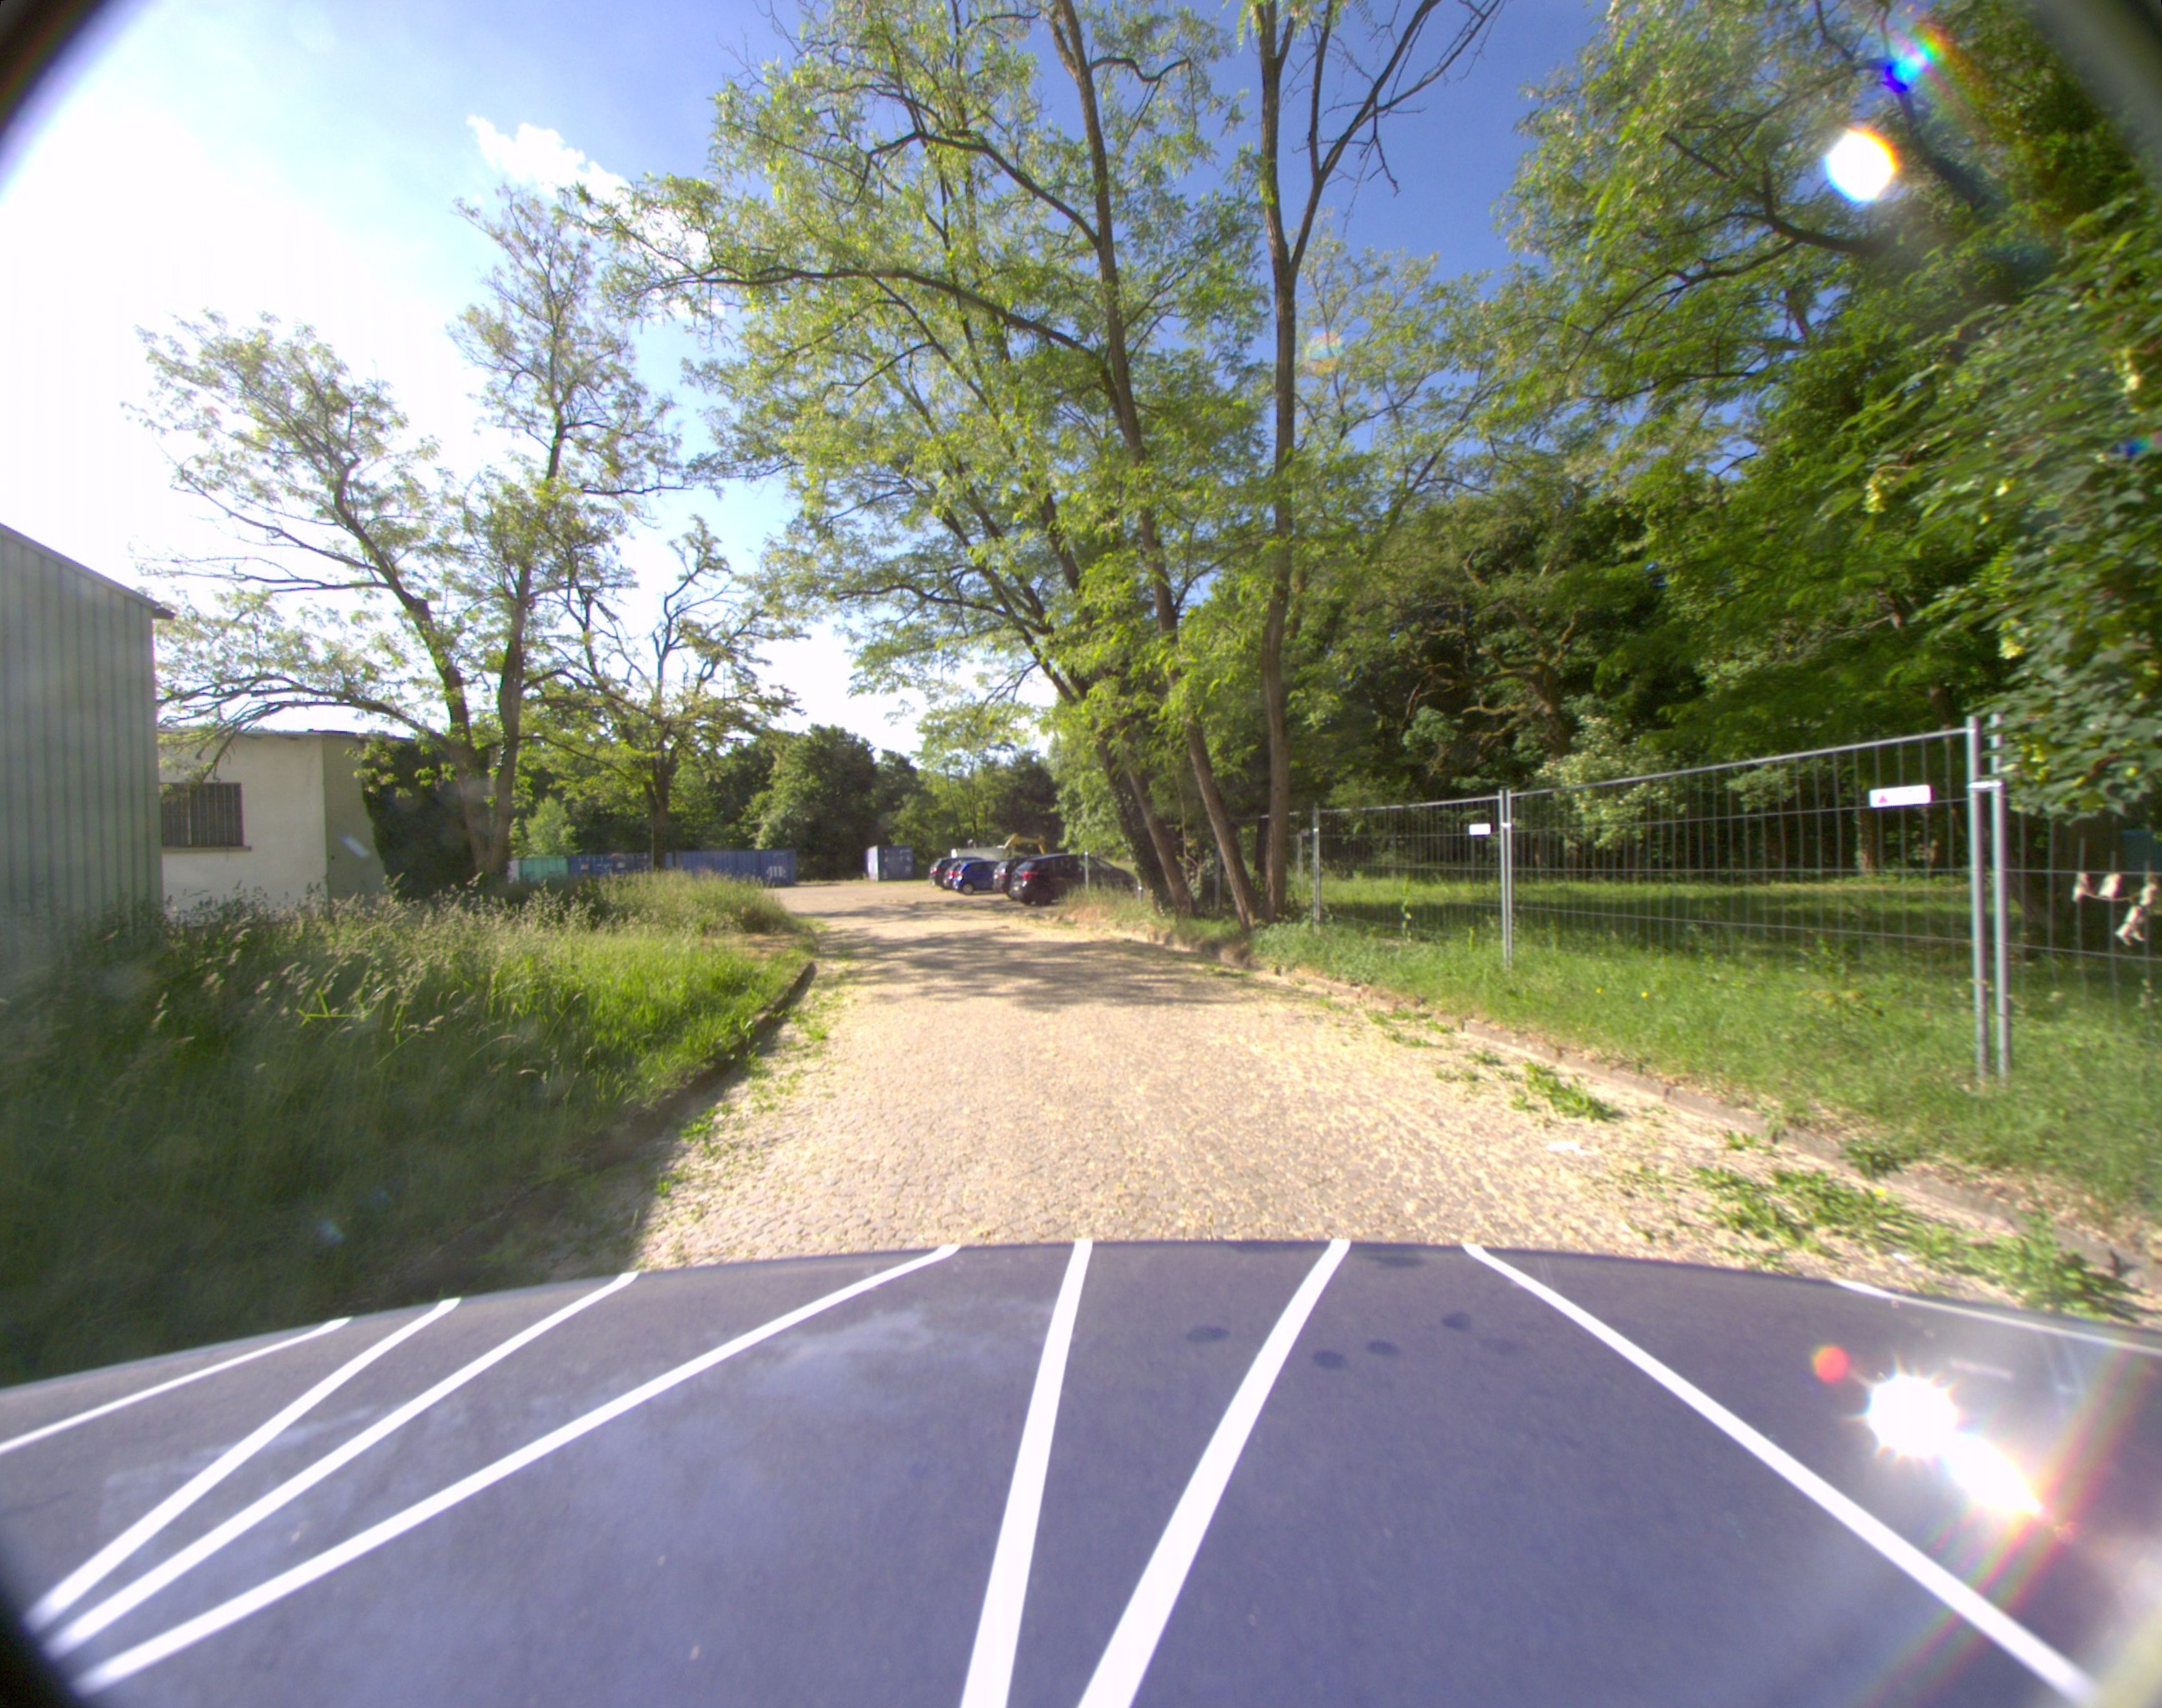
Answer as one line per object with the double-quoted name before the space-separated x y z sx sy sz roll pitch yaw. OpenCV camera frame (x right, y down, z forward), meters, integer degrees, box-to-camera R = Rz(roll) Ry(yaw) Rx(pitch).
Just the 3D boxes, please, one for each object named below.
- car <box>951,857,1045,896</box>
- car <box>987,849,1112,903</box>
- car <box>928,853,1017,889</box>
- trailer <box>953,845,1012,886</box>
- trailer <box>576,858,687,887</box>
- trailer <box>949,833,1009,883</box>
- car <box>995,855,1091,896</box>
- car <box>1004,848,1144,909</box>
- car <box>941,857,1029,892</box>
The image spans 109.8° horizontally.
"car" -3.704 0.951 33.833 3.792 1.450 1.783 -3 1 -18
"car" -1.194 0.784 29.012 4.277 1.622 1.877 -5 2 -23
"car" -5.510 0.820 38.554 4.134 1.581 1.967 -3 1 -19
"trailer" -5.414 0.615 41.549 2.852 2.039 1.821 -3 1 -17
"trailer" -24.935 0.997 42.431 4.866 1.406 2.645 -1 1 -19
"trailer" -5.896 0.214 43.835 2.851 2.525 2.262 -5 2 -17
"car" -1.626 0.880 31.866 3.726 1.443 1.742 -3 1 -13
"car" -0.229 0.789 25.881 4.277 1.580 1.826 -6 1 -24
"car" -4.611 0.961 36.307 3.792 1.403 1.892 -3 1 -19
